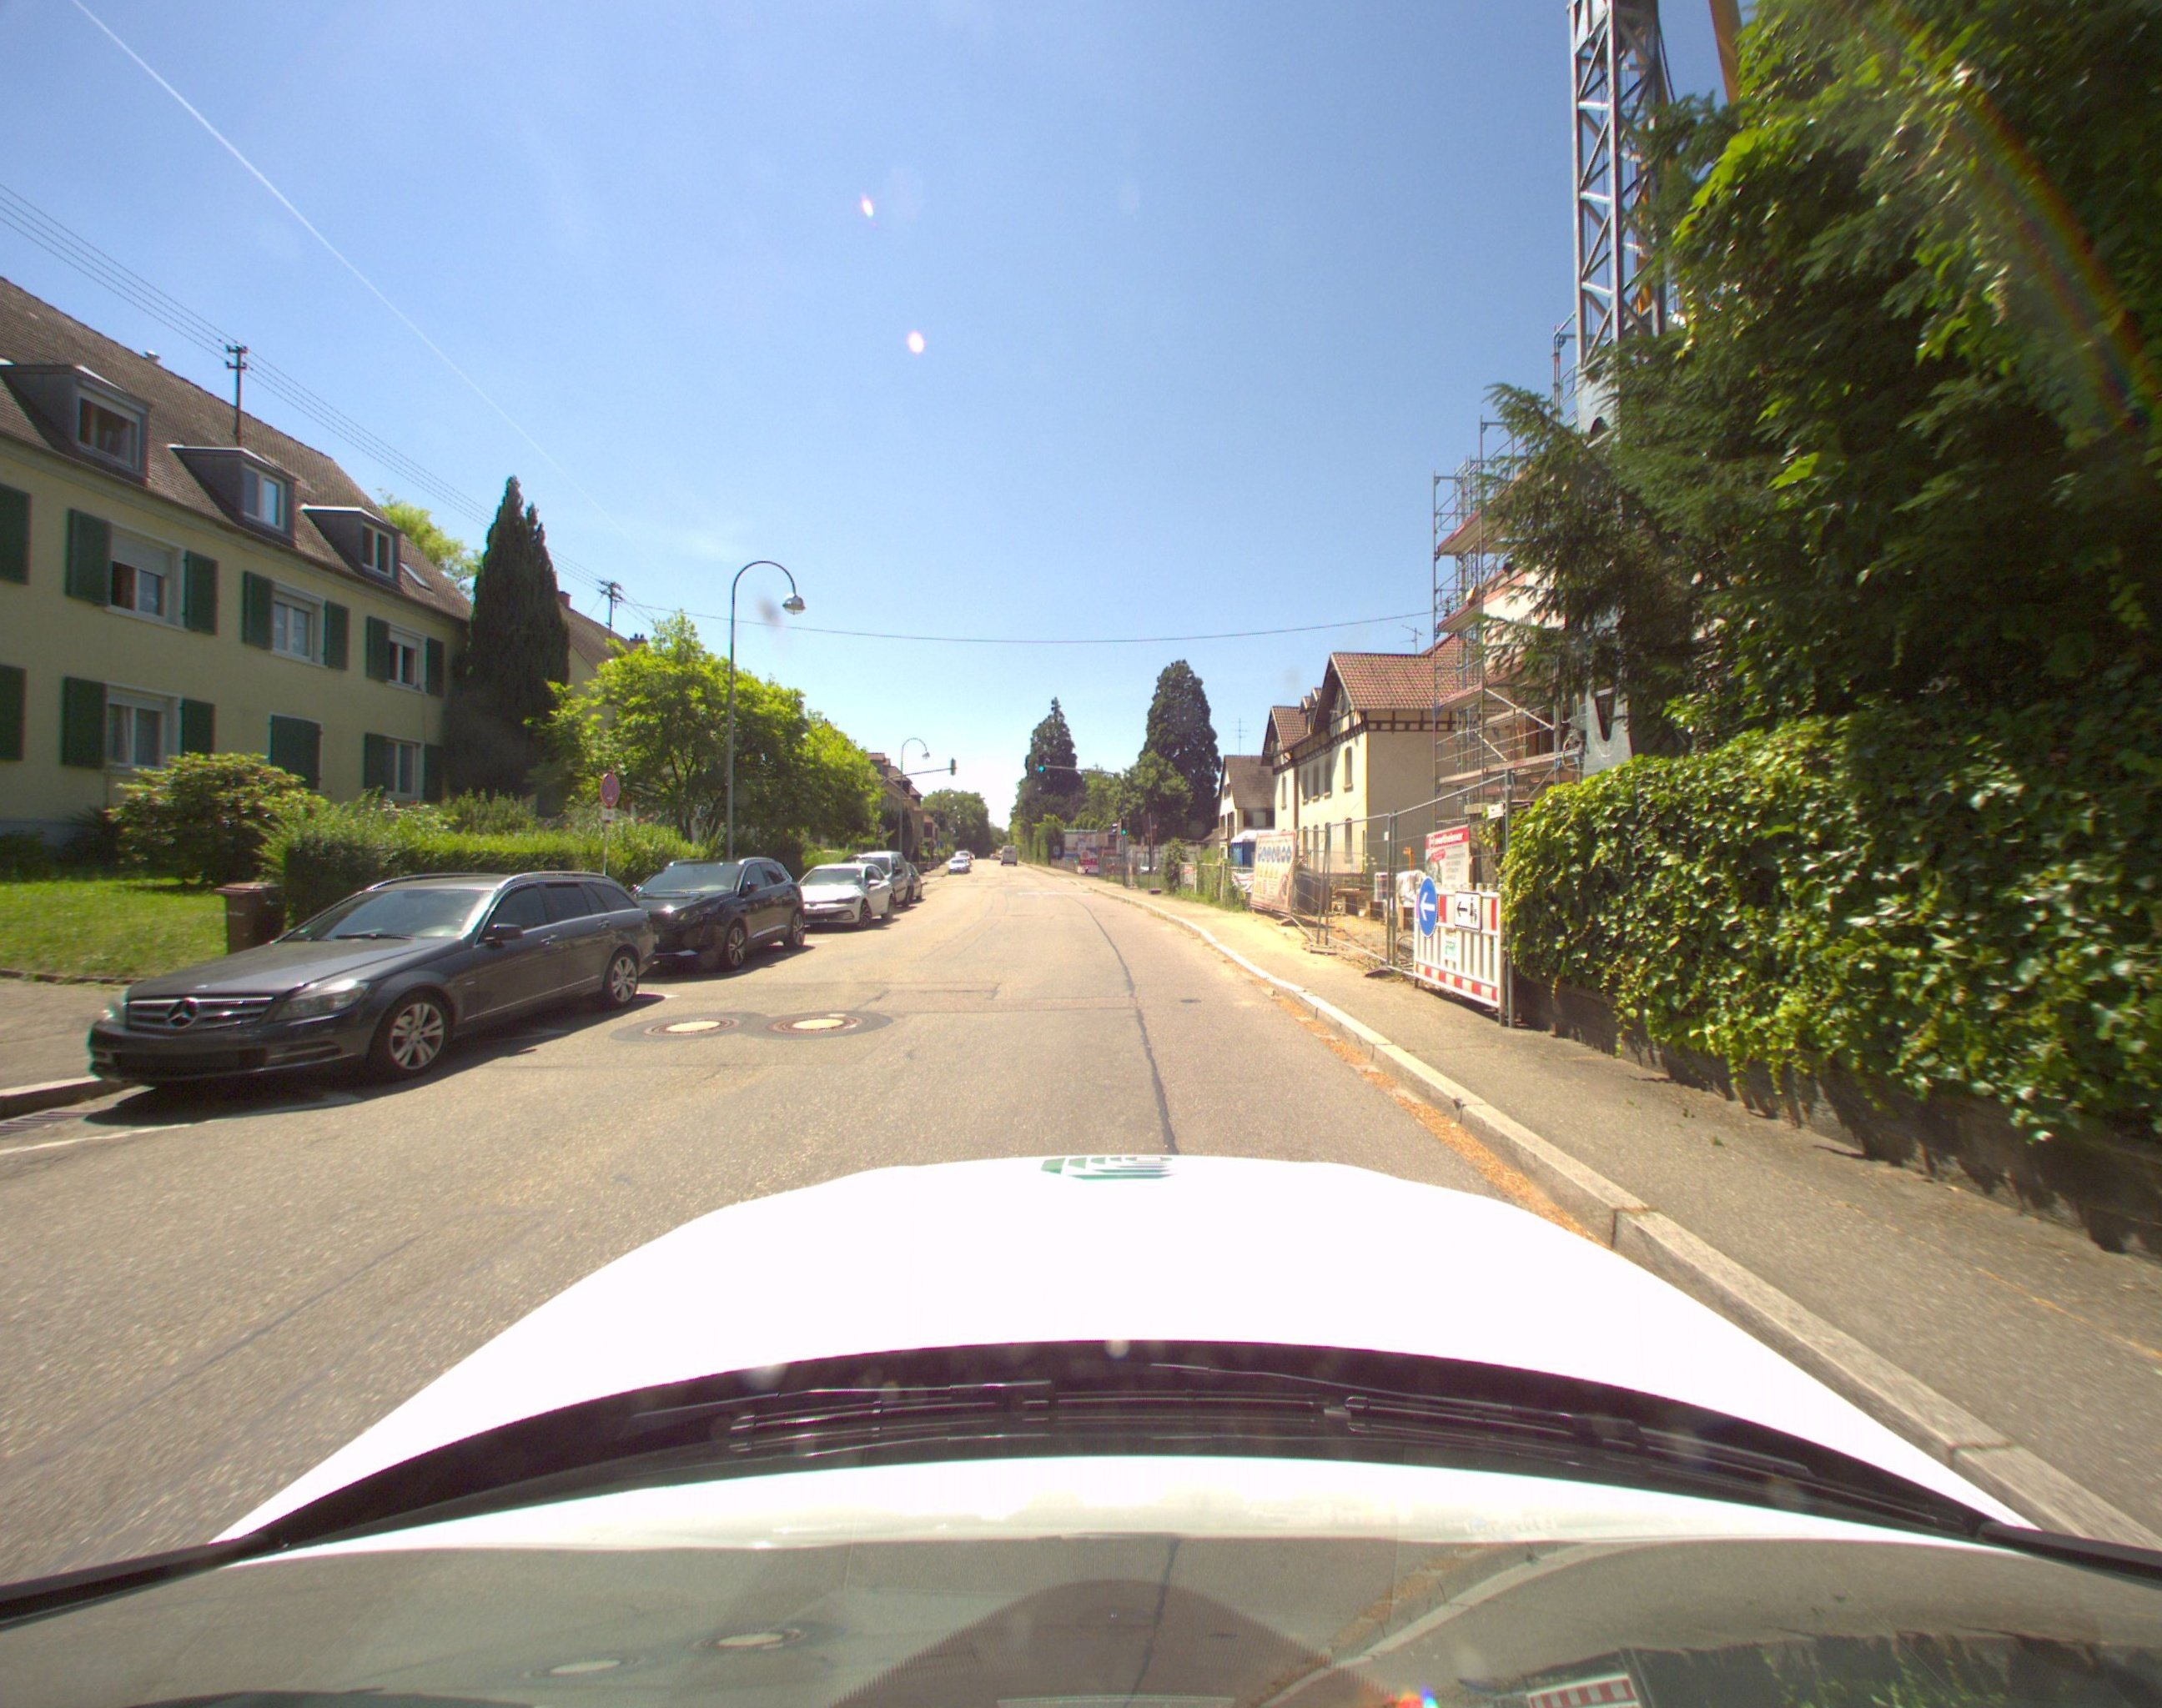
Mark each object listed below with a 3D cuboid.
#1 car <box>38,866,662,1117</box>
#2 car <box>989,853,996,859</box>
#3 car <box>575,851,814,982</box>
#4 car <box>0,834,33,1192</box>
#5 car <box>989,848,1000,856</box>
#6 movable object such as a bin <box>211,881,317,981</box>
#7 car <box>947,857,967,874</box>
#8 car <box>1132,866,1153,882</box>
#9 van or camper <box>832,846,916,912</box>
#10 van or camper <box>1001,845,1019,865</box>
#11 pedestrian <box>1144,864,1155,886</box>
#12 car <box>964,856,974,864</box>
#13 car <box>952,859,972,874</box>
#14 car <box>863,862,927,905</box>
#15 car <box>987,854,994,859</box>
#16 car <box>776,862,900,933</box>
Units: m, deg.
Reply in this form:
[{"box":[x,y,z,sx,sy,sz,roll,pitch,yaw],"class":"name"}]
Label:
[{"box":[-5.665,0.886,7.245,1.676,1.476,4.328,-1,0,-1],"class":"car"},{"box":[-25.147,0.647,231.171,1.992,1.662,3.989,0,0,-8],"class":"car"},{"box":[-5.669,0.811,12.625,1.676,1.637,4.328,-1,0,-1],"class":"car"},{"box":[-5.845,0.739,1.960,1.675,1.639,3.791,-1,0,1],"class":"car"},{"box":[-17.794,-0.446,167.480,1.992,1.662,3.989,0,0,-8],"class":"car"},{"box":[-9.585,0.886,9.573,0.617,1.121,0.596,0,-1,3],"class":"movable object such as a bin"},{"box":[-11.108,1.004,73.106,1.758,1.447,3.912,-1,0,-9],"class":"car"},{"box":[5.374,1.705,70.760,1.703,1.270,3.389,1,0,5],"class":"car"},{"box":[-6.202,0.699,24.792,1.677,1.804,3.980,-1,0,-3],"class":"van or camper"},{"box":[-9.401,0.167,107.640,2.259,2.528,4.750,-1,0,-5],"class":"van or camper"},{"box":[5.303,1.619,62.961,0.694,1.600,0.571,2,-1,-7],"class":"pedestrian"},{"box":[-21.002,1.093,152.318,1.813,1.566,3.687,-1,0,-7],"class":"car"},{"box":[-11.371,1.150,78.002,1.794,1.402,4.206,-1,0,-9],"class":"car"},{"box":[-6.608,1.003,29.295,1.678,1.412,3.919,-1,0,-5],"class":"car"},{"box":[-27.267,0.709,245.704,1.992,1.662,3.989,0,0,-8],"class":"car"},{"box":[-5.549,0.926,19.150,1.676,1.441,4.245,-1,0,-1],"class":"car"}]
